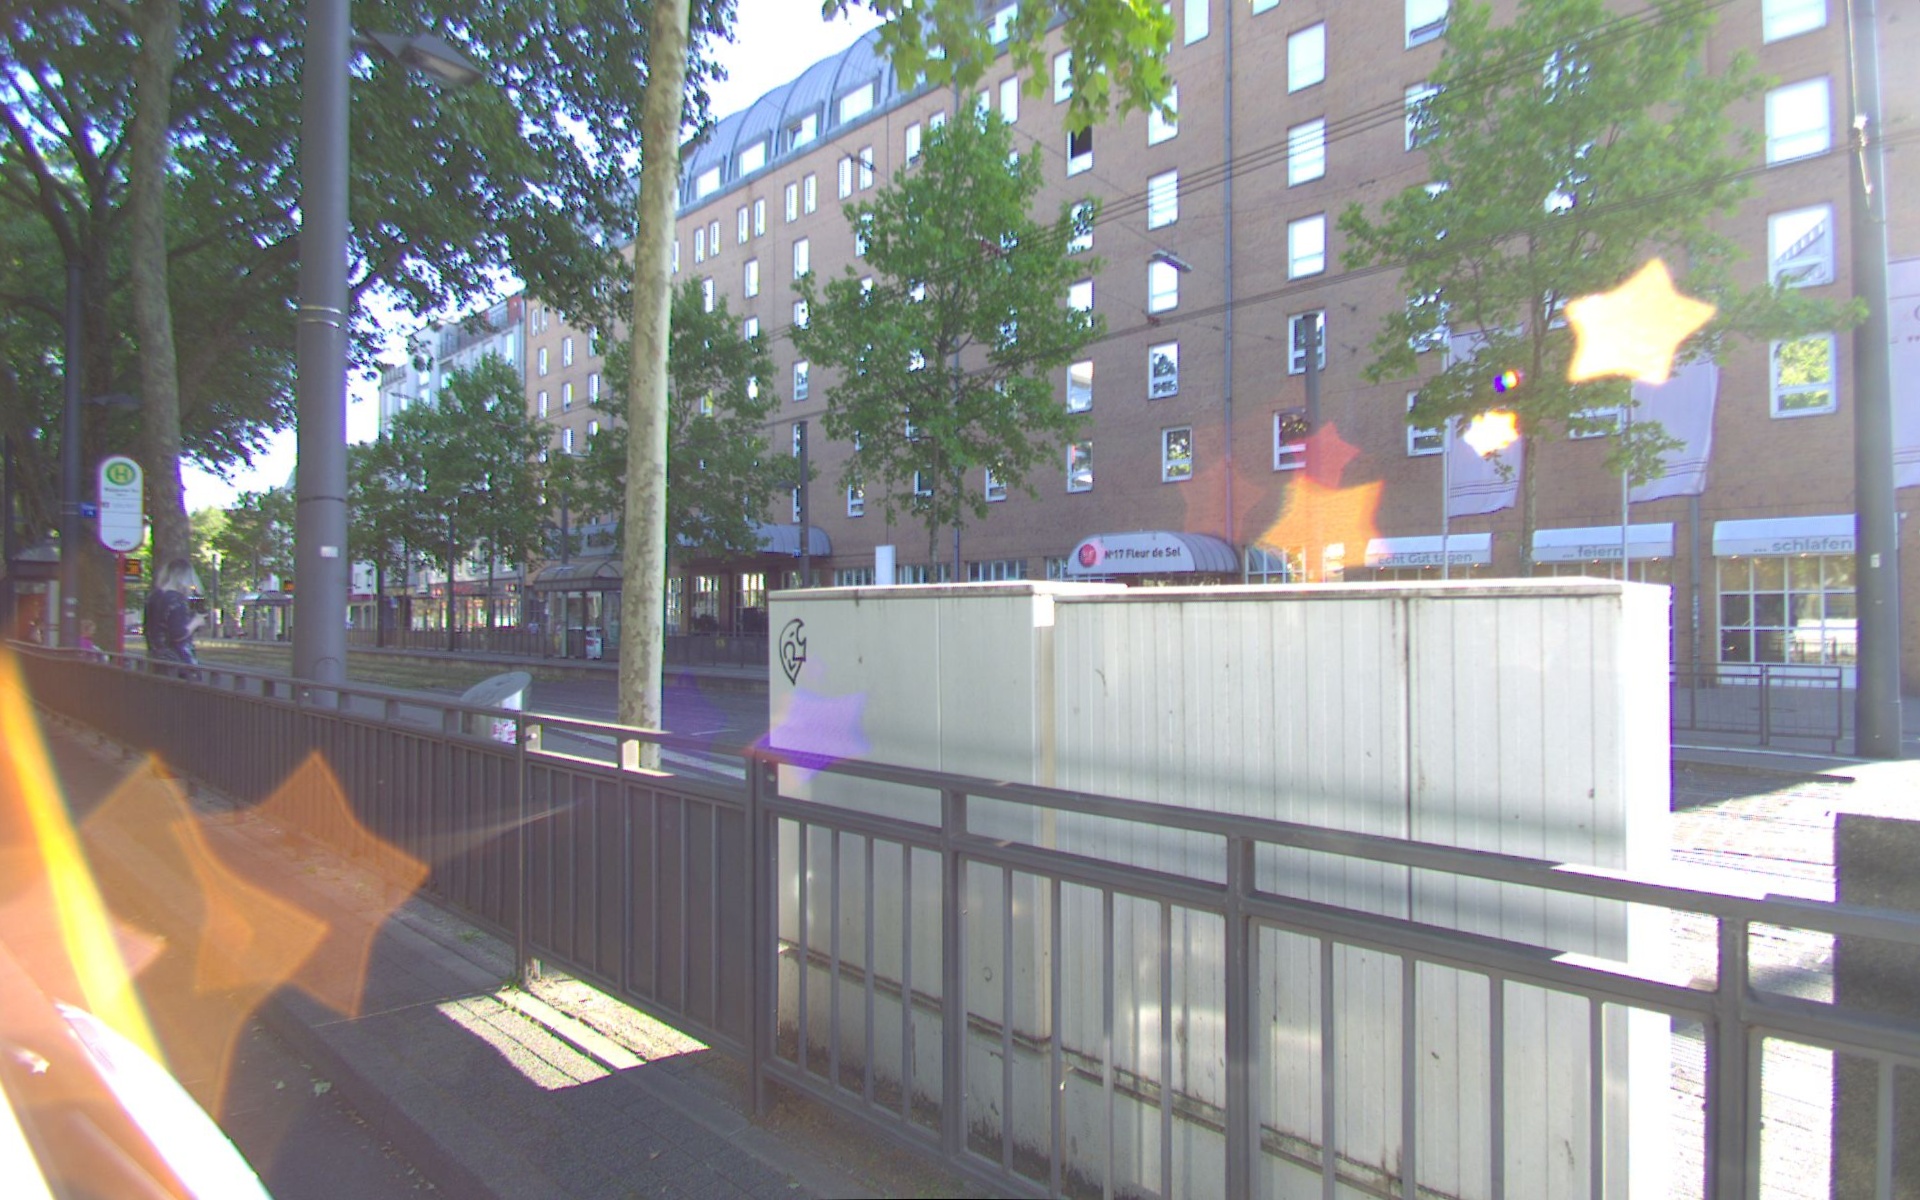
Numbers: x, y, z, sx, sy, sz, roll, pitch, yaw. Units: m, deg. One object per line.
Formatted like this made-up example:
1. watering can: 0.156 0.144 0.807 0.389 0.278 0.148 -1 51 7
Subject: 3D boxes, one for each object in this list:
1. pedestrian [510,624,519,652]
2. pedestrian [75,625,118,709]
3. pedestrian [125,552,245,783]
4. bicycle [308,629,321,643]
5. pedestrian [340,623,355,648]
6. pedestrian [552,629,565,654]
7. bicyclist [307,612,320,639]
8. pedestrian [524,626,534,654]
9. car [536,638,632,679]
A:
1. pedestrian: -24.782 2.118 56.318 0.431 1.518 0.660 1 -2 -27
2. pedestrian: -13.951 1.065 16.353 0.493 1.325 0.419 1 -2 -41
3. pedestrian: -6.662 0.548 8.709 0.604 1.897 0.617 1 0 28
4. bicycle: -45.709 2.535 71.698 0.444 1.012 1.754 2 -2 -44
5. pedestrian: -50.585 2.926 83.581 0.763 2.029 0.796 -2 -2 41
6. pedestrian: -23.464 2.409 59.134 0.516 1.447 0.512 -2 -2 44
7. bicyclist: -45.780 1.786 71.672 0.564 1.918 0.814 2 -2 -43
8. pedestrian: -24.085 2.244 56.580 0.431 1.532 0.660 1 -2 -27
9. car: -14.771 2.243 39.642 4.308 1.500 1.736 -2 -2 42
